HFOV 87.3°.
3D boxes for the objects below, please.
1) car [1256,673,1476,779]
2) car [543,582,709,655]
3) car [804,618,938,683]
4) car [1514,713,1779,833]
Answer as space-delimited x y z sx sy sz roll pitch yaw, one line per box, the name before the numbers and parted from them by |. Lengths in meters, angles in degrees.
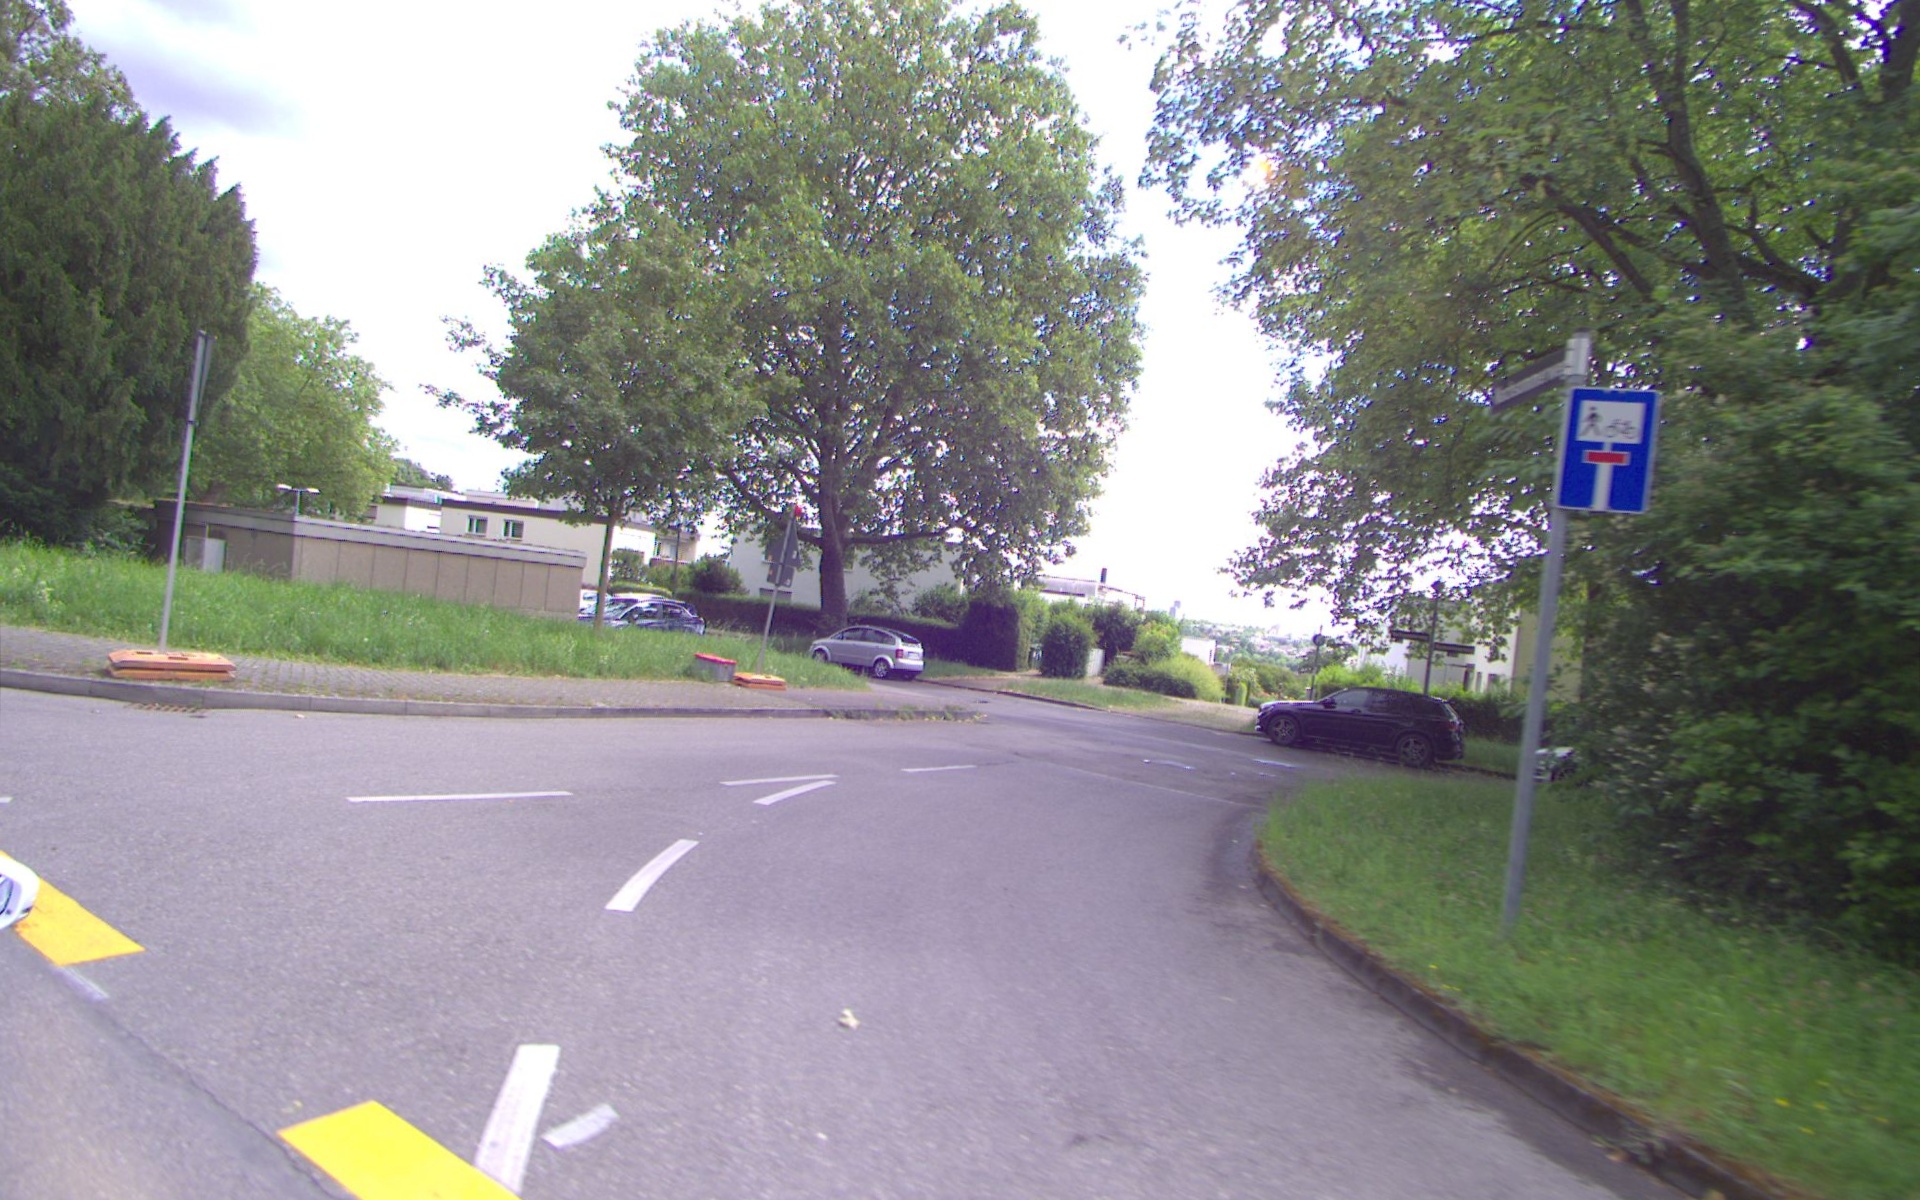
car | 9.428 2.838 23.477 4.371 1.638 1.894 7 1 31
car | -8.324 0.510 25.310 1.780 1.330 3.568 7 -2 30
car | -2.803 1.566 31.430 3.685 1.487 1.848 7 0 32
car | 13.852 3.426 20.608 4.173 1.504 1.824 7 0 31
